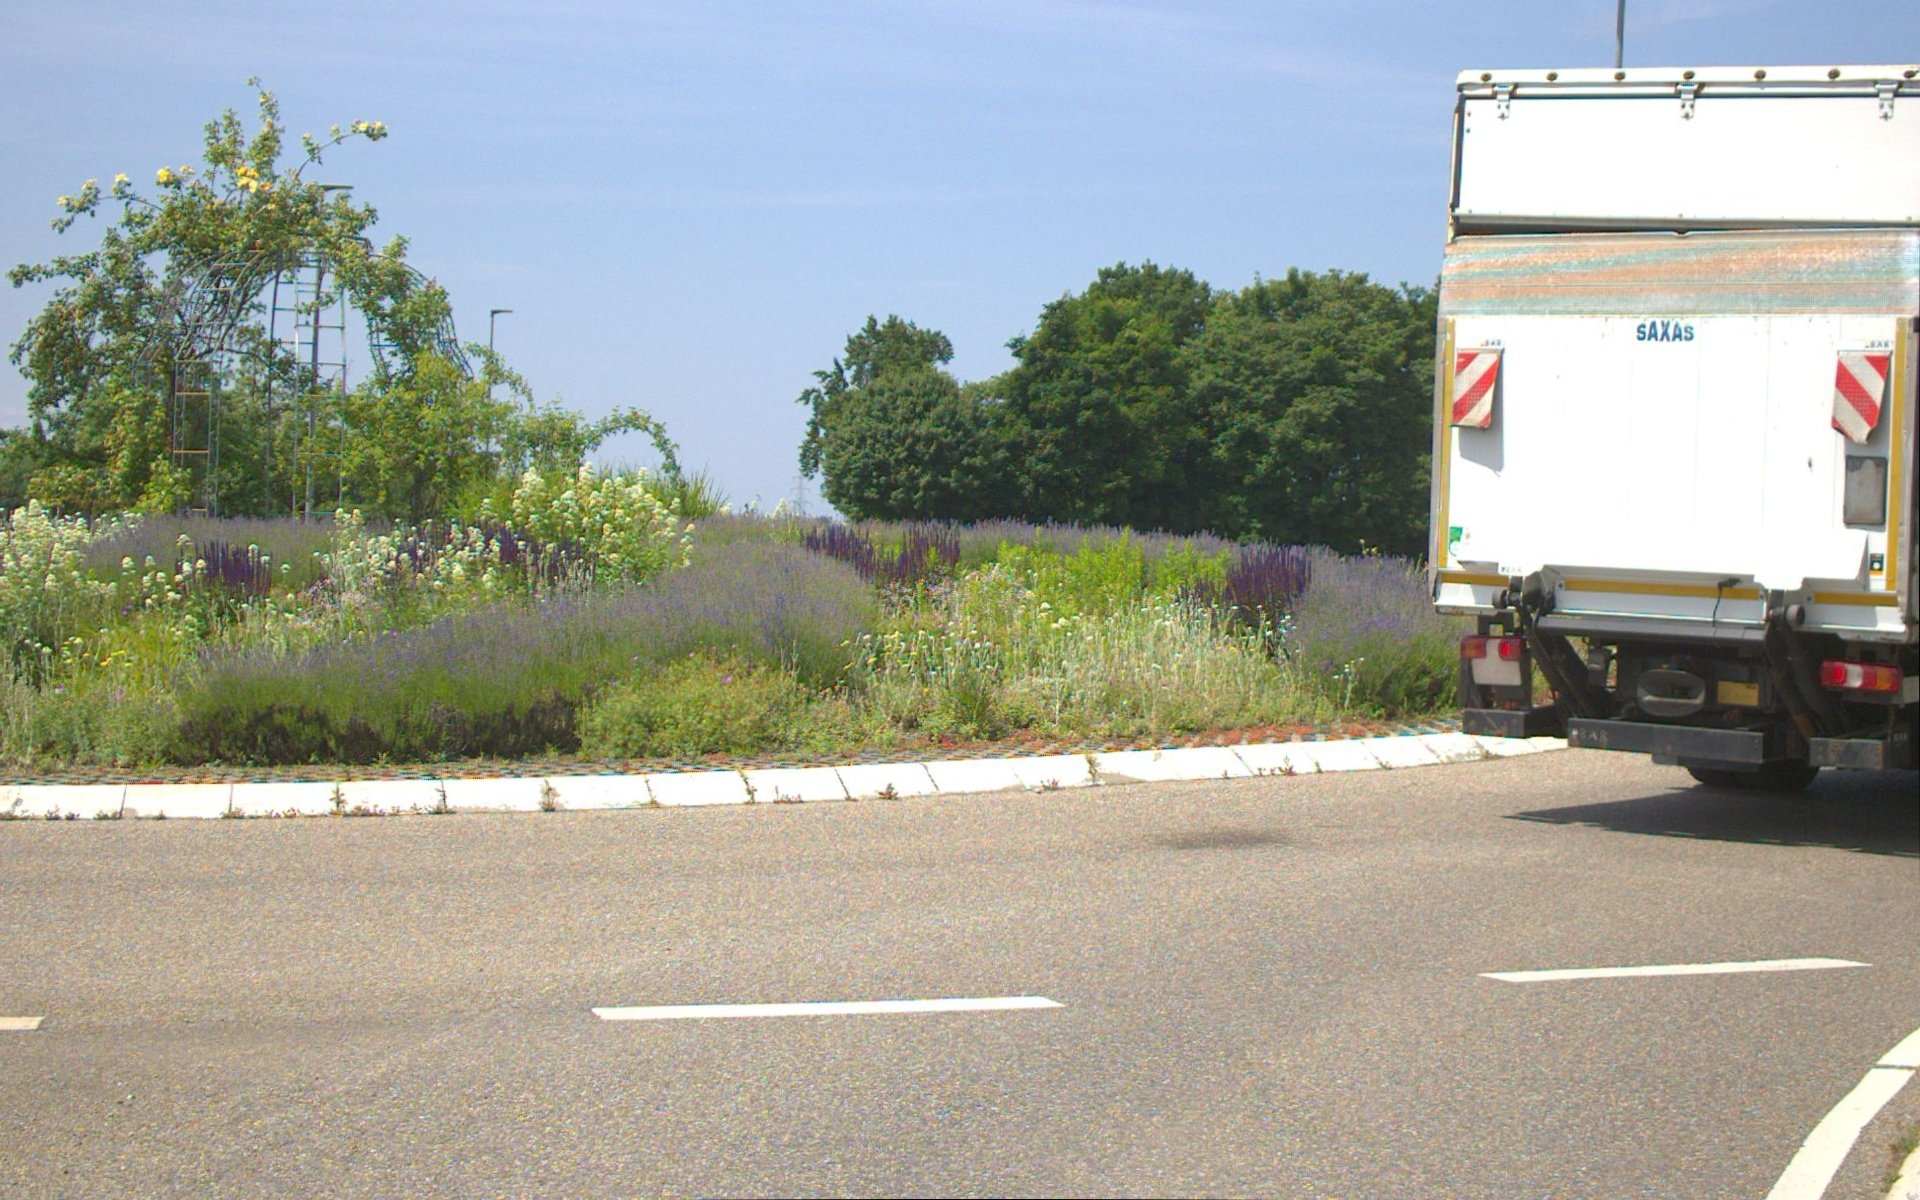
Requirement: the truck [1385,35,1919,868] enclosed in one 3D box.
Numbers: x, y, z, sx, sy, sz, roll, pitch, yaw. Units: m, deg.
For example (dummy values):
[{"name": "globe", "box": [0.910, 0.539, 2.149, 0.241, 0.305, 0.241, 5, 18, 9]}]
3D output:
[{"name": "truck", "box": [6.181, -0.780, 19.568, 2.773, 3.658, 9.361, 3, 3, 40]}]
